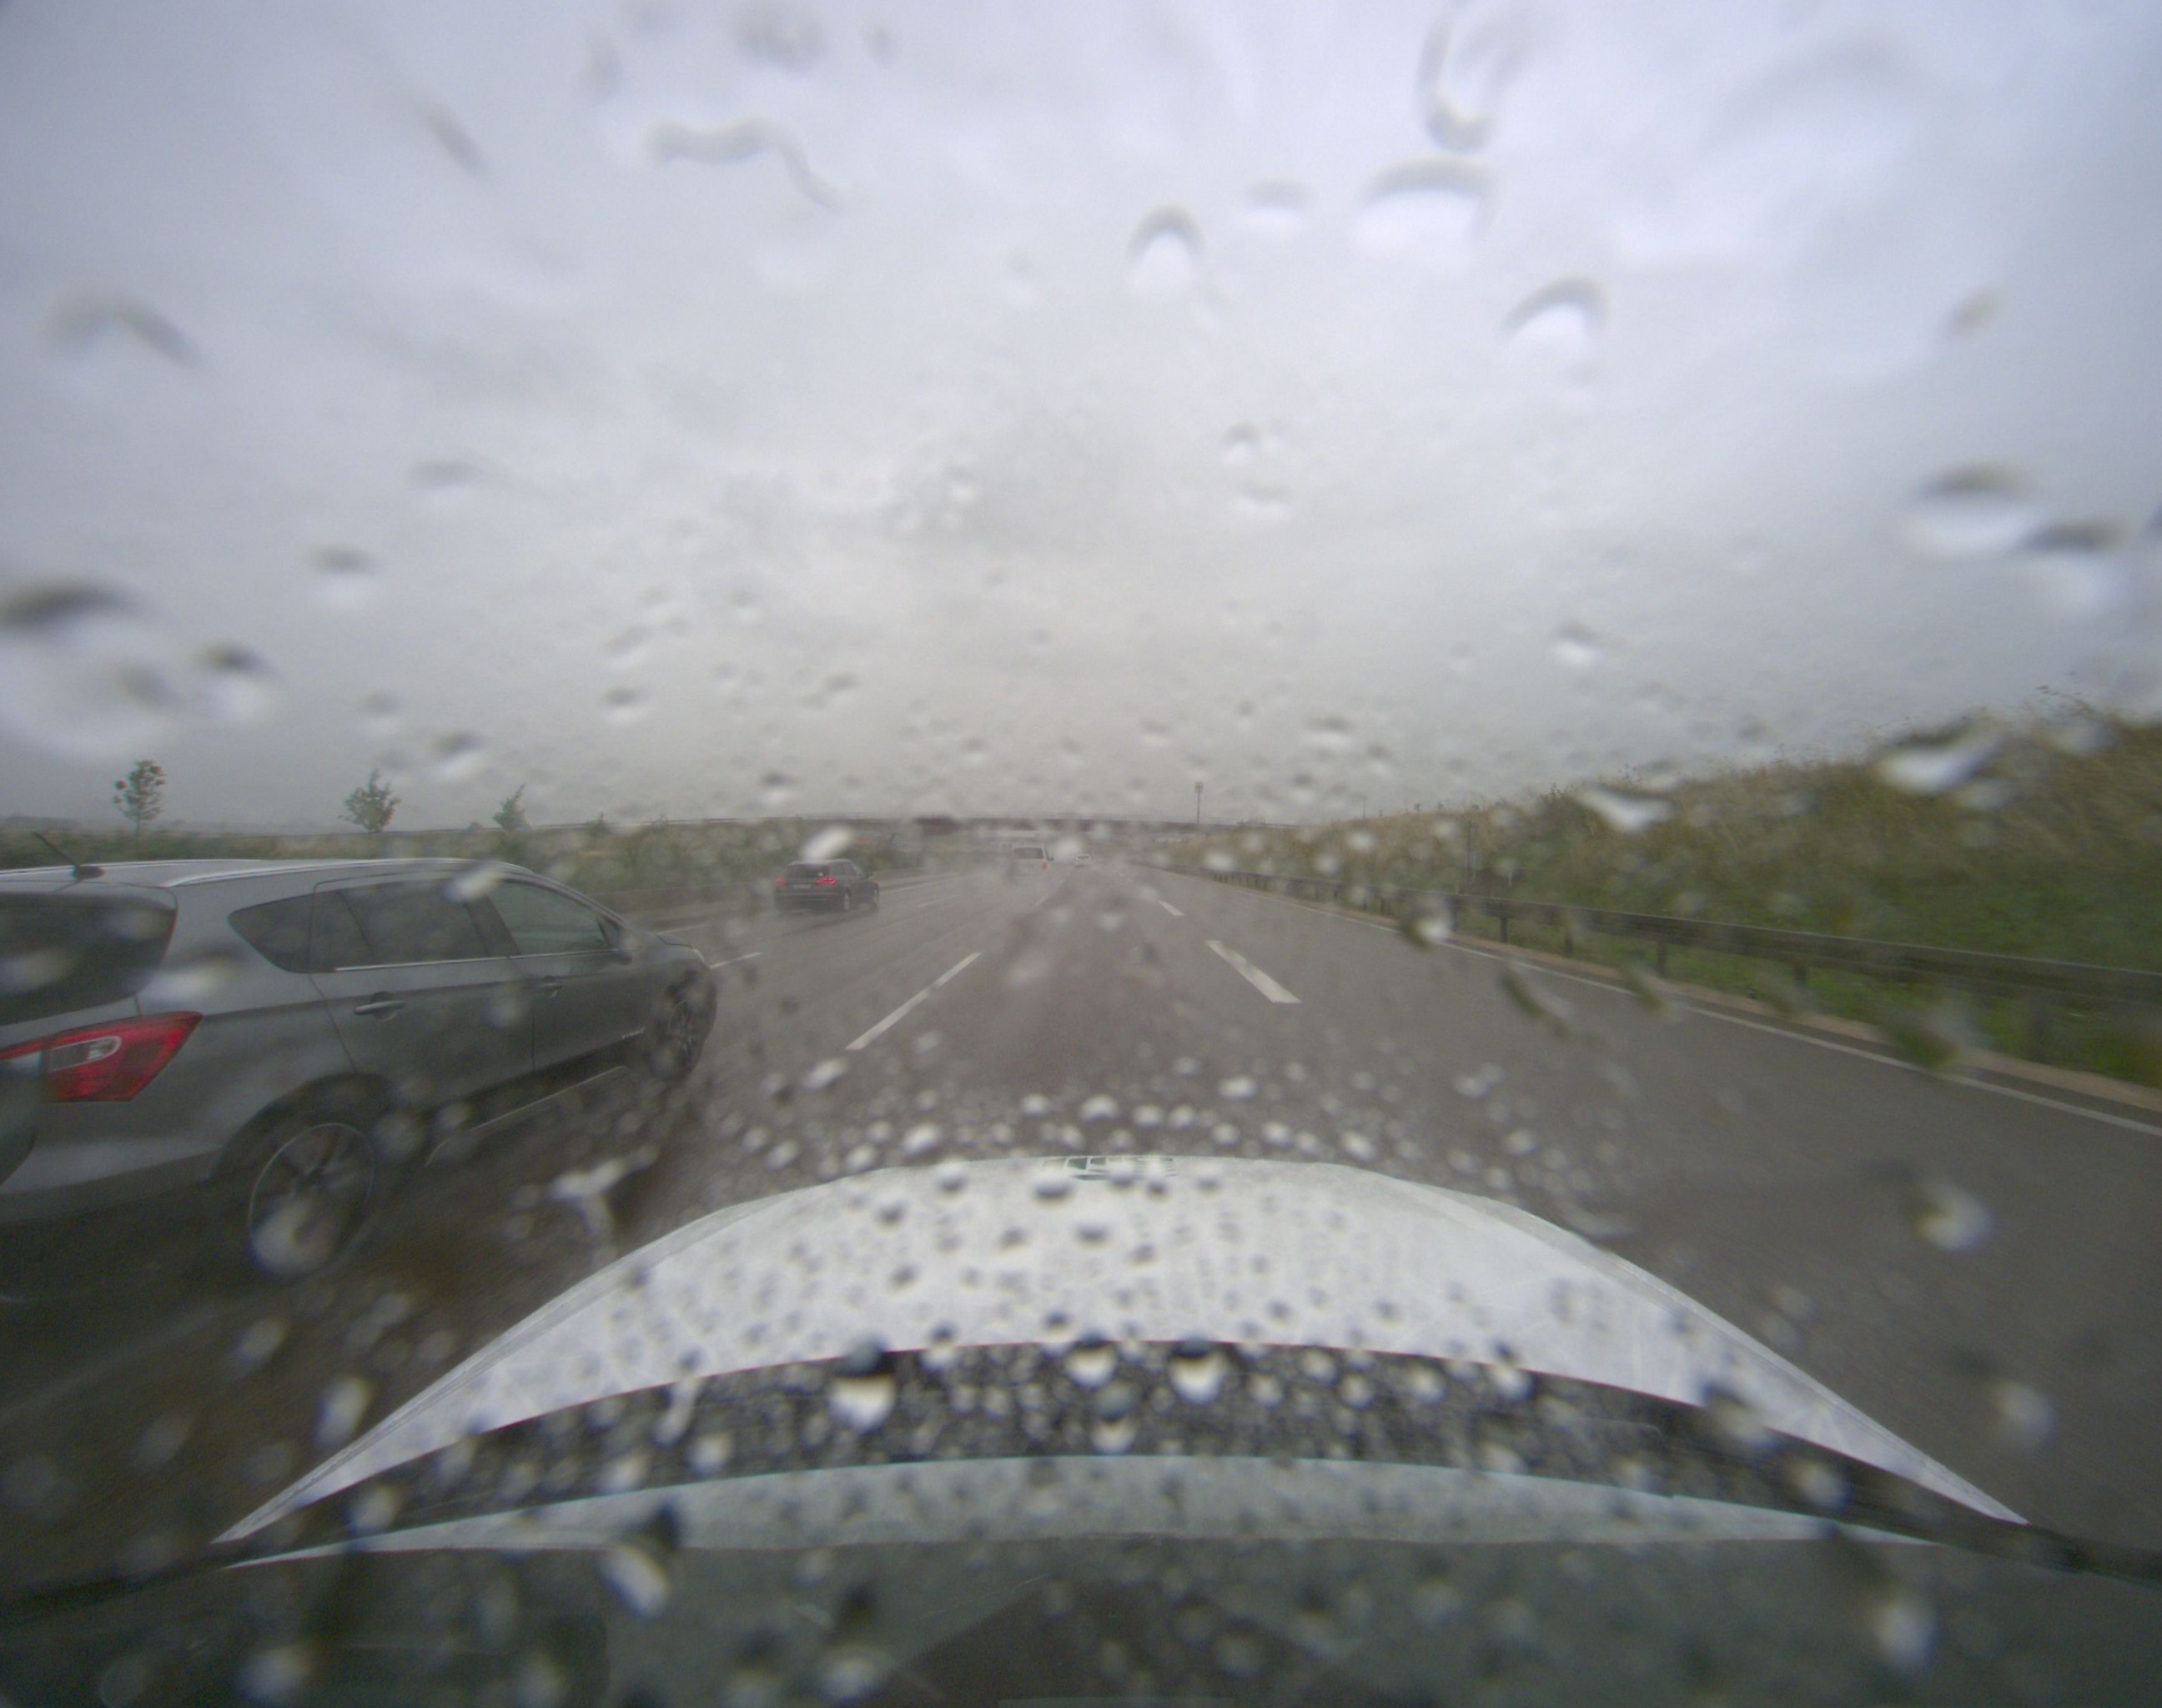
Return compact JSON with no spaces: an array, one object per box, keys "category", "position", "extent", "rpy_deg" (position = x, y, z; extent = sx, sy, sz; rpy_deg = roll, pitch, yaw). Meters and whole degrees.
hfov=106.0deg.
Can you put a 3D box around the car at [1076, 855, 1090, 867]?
[{"category":"car","position":[0.189,0.688,82.540],"extent":[1.463,1.208,2.990],"rpy_deg":[0,0,0]}]

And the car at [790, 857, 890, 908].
[{"category":"car","position":[-6.950,0.767,23.877],"extent":[1.606,1.354,4.002],"rpy_deg":[0,0,2]}]

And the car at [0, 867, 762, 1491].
[{"category":"car","position":[-3.588,0.864,4.219],"extent":[1.839,1.513,4.759],"rpy_deg":[0,0,2]}]

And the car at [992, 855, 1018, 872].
[{"category":"car","position":[-6.080,0.755,65.559],"extent":[1.461,1.257,3.344],"rpy_deg":[0,0,5]}]

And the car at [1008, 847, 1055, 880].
[{"category":"car","position":[-2.439,0.454,41.257],"extent":[1.889,1.585,4.004],"rpy_deg":[0,0,4]}]
